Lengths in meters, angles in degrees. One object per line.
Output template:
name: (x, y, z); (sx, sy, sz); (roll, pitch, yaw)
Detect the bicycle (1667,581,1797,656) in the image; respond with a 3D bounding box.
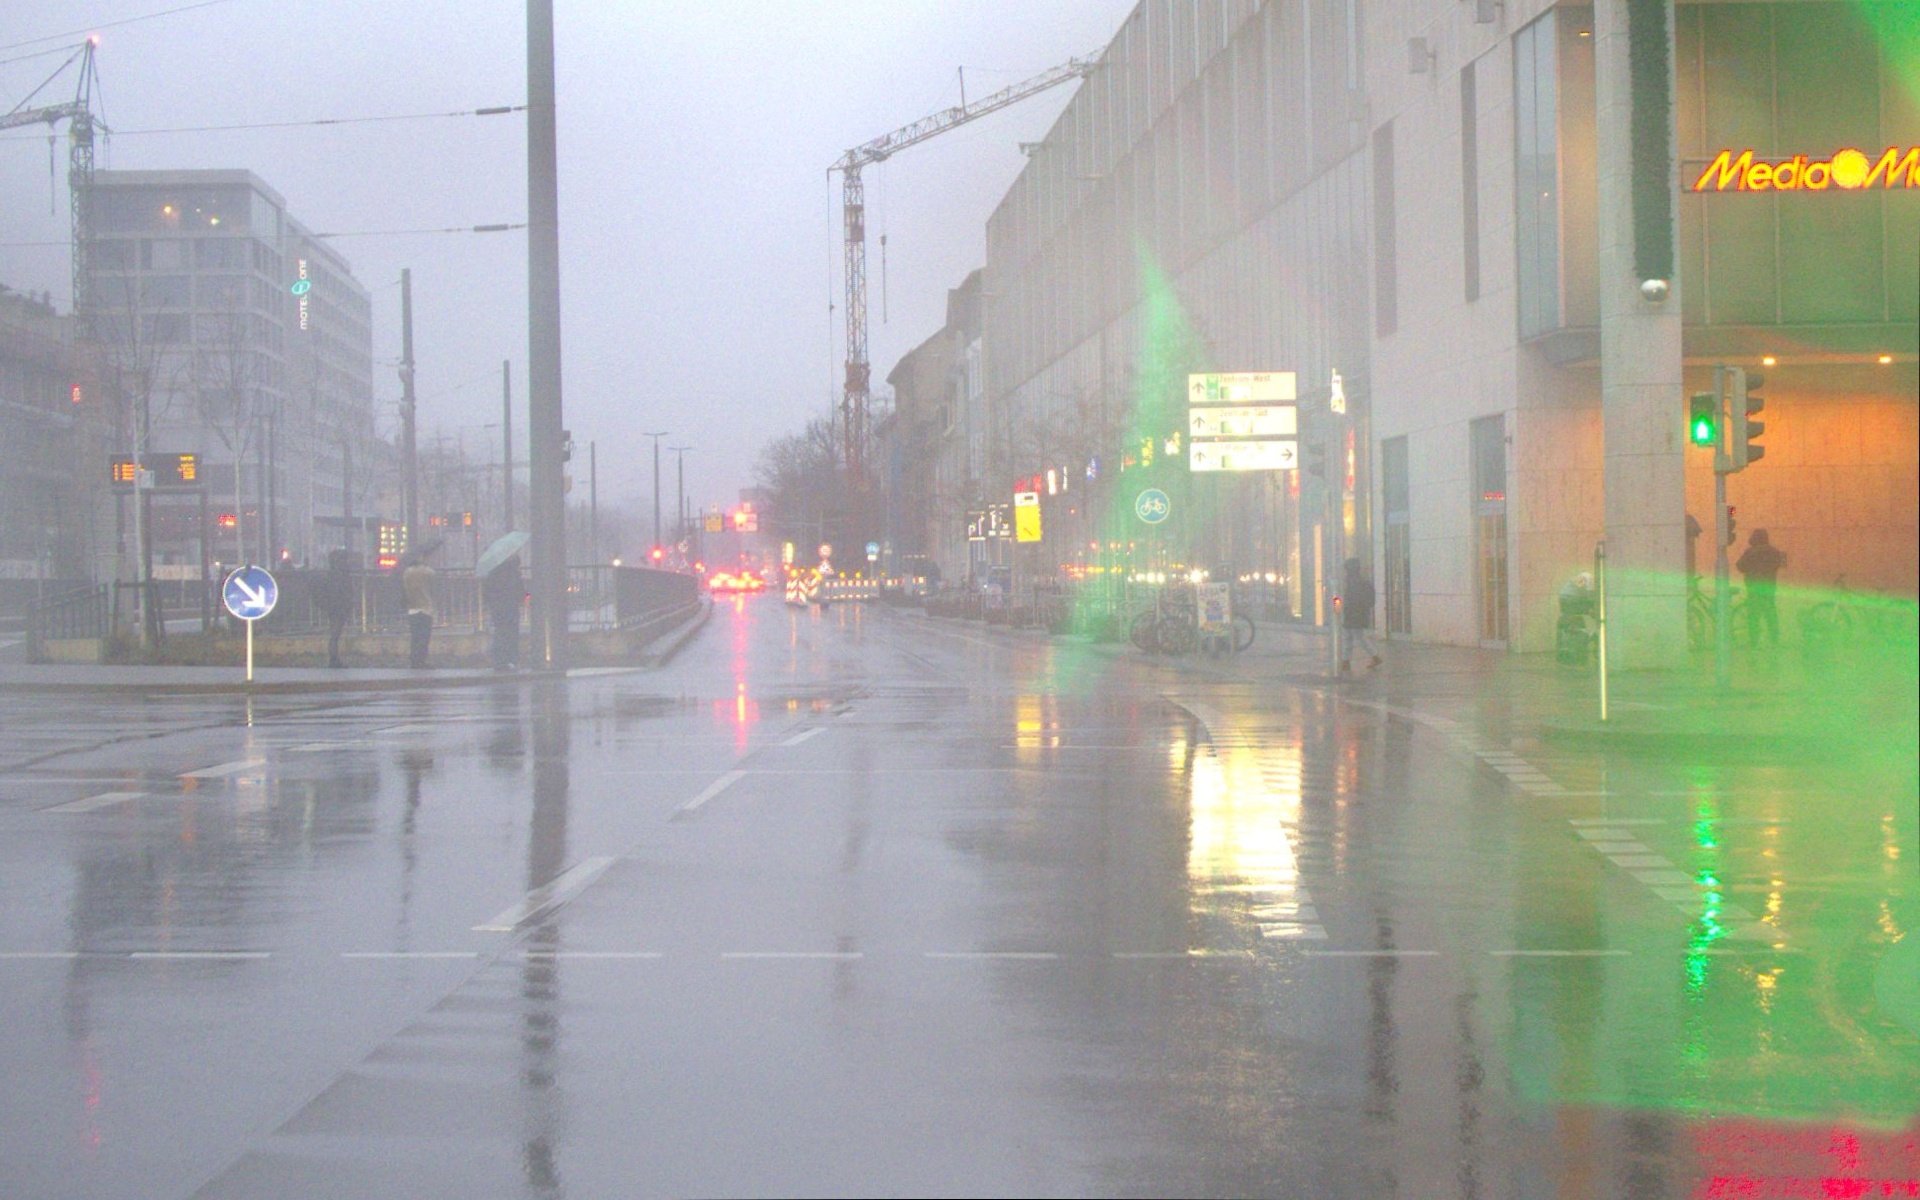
bicycle: (11.269, 0.268, 50.185); (1.767, 1.066, 0.525); (1, 0, -8)

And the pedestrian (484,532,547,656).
pedestrian: (-6.102, -0.082, 47.185); (0.612, 1.680, 0.577); (1, 0, 42)

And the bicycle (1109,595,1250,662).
bicycle: (3.899, 0.504, 61.114); (2.442, 1.150, 0.674); (-1, 0, -1)

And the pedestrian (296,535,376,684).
pedestrian: (-8.497, 0.119, 46.805); (0.785, 2.007, 0.726); (1, 0, 42)

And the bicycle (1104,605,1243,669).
bicycle: (3.837, 0.670, 61.935); (2.425, 1.095, 0.712); (-1, 0, -2)

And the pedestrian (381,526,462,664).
pedestrian: (-7.227, -0.066, 46.102); (0.821, 1.825, 0.786); (1, 0, -31)

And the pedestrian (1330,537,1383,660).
pedestrian: (5.580, -0.027, 48.352); (0.636, 1.703, 0.573); (-1, 0, -1)

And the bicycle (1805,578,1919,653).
bicycle: (13.267, 0.223, 50.317); (1.646, 1.066, 0.525); (1, 0, -4)

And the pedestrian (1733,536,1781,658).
pedestrian: (11.408, -0.044, 49.244); (0.600, 1.739, 0.524); (1, 0, 8)
